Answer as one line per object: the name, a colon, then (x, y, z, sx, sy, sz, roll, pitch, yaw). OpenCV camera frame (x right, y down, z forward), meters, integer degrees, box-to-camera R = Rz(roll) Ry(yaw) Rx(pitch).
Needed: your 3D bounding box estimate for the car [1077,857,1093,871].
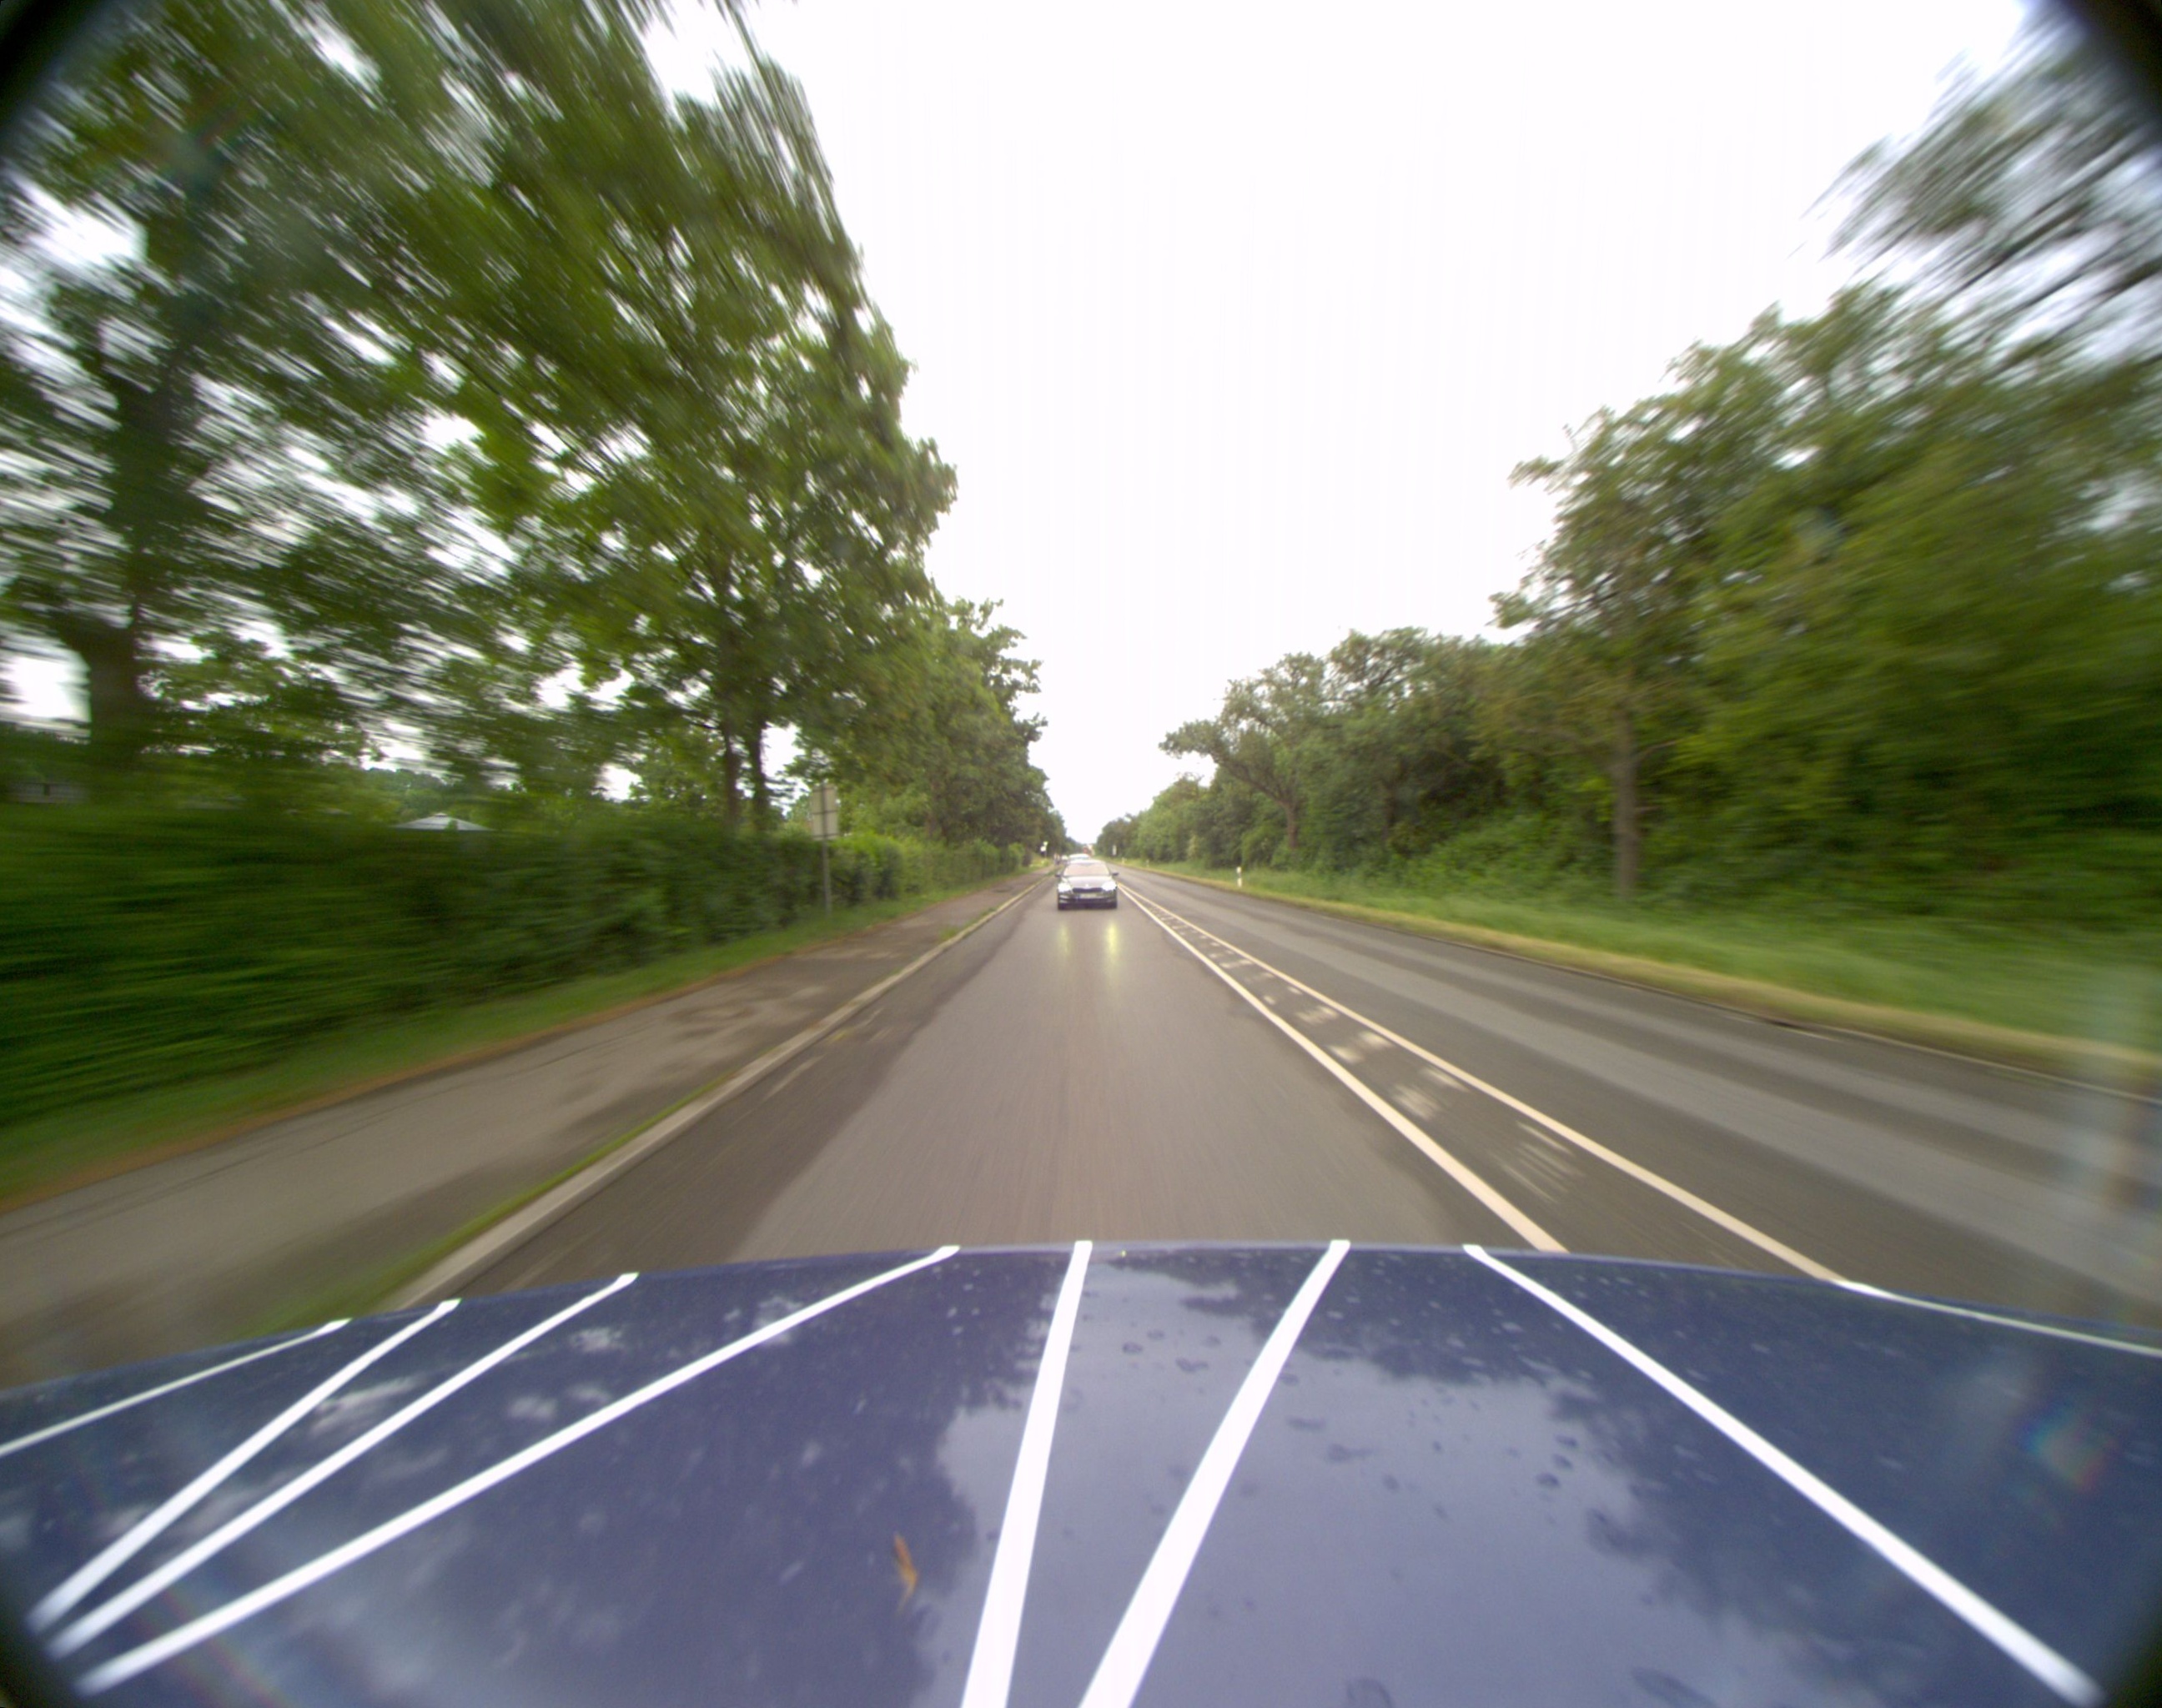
car: (0.476, 1.225, 91.411, 1.887, 1.543, 3.475, -2, 1, 0)

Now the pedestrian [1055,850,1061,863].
pedestrian: (-3.127, 0.333, 103.497, 0.696, 1.817, 0.800, 0, 1, -17)

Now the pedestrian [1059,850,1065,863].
pedestrian: (-2.610, 0.284, 104.624, 0.663, 1.768, 0.759, 0, 1, -17)

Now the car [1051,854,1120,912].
car: (0.127, 0.843, 24.015, 1.915, 1.543, 4.354, -2, 1, 0)

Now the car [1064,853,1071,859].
car: (-3.682, 0.497, 204.547, 1.749, 1.460, 4.220, 1, 1, 0)

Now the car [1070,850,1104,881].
car: (0.359, 0.673, 46.810, 1.915, 1.691, 3.913, -2, 1, 0)

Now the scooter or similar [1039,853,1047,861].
scooter or similar: (-5.824, 0.490, 115.661, 1.323, 1.199, 0.375, 1, 1, 41)
